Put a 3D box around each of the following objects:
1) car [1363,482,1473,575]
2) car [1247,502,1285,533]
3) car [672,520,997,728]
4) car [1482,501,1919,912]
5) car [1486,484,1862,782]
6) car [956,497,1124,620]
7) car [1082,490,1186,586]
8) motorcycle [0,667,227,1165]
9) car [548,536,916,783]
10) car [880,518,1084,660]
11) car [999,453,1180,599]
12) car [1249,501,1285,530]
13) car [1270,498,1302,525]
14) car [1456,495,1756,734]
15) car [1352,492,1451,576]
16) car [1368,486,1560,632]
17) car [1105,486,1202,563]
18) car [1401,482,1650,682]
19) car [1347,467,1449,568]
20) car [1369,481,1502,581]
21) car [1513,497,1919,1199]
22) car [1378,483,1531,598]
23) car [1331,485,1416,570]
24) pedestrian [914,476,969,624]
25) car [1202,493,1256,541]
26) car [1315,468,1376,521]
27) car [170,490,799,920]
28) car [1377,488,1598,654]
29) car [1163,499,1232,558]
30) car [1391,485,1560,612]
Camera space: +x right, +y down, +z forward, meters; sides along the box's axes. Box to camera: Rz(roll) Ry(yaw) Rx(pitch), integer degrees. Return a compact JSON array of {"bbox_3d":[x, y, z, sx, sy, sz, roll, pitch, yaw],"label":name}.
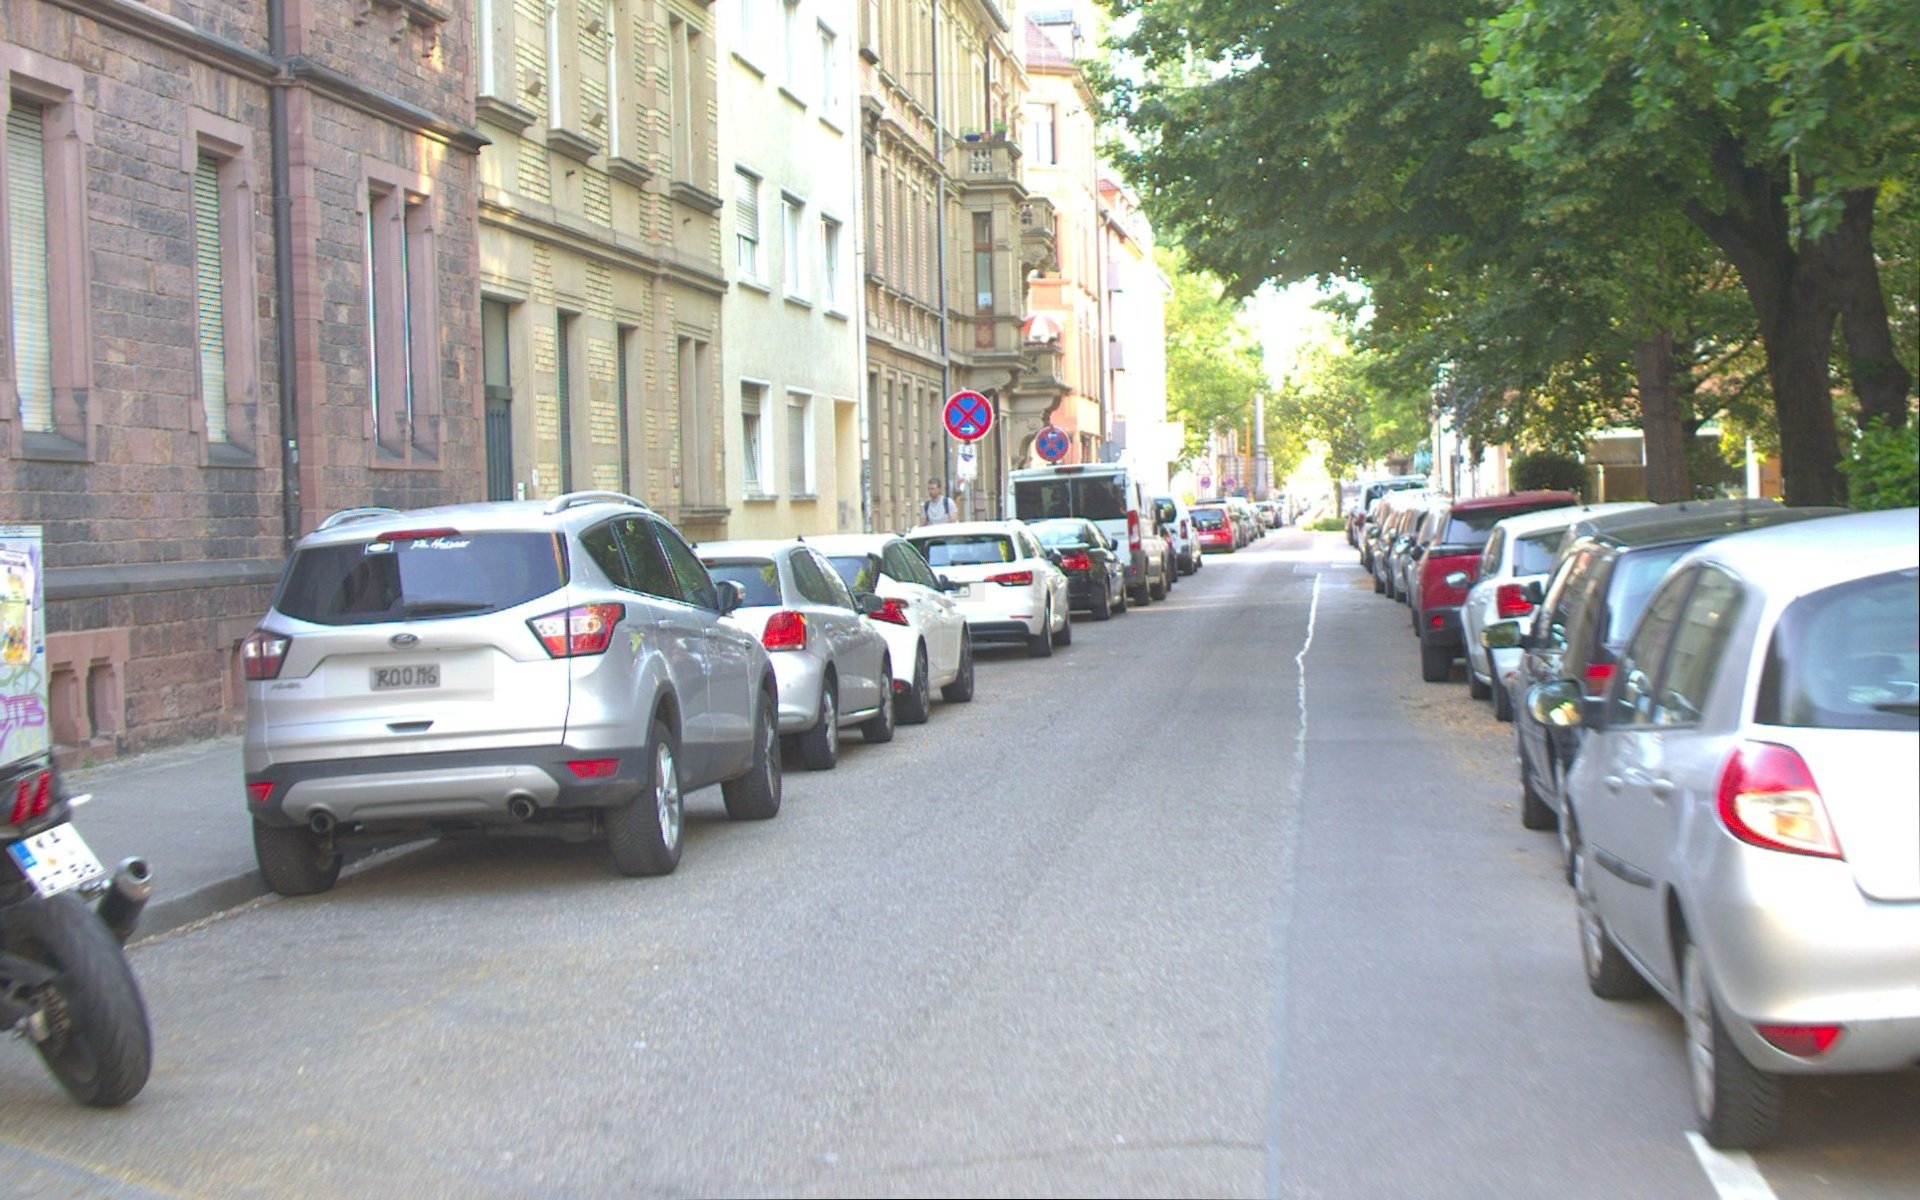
[{"bbox_3d":[8.224,-1.297,61.969,1.793,1.568,4.000,-2,1,6],"label":"car"},{"bbox_3d":[17.082,-4.608,191.800,1.994,1.641,3.999,-2,1,6],"label":"car"},{"bbox_3d":[-0.902,0.134,27.128,1.882,1.406,3.999,-3,1,7],"label":"car"},{"bbox_3d":[3.280,0.354,15.001,1.723,1.517,4.000,-2,1,6],"label":"car"},{"bbox_3d":[4.160,0.127,20.573,1.741,1.568,4.000,-2,1,6],"label":"car"},{"bbox_3d":[1.155,-0.602,47.459,1.994,1.568,4.000,-2,1,6],"label":"car"},{"bbox_3d":[3.407,-1.228,66.731,1.793,1.568,4.000,-2,5,6],"label":"car"},{"bbox_3d":[-2.893,0.818,9.825,0.664,1.203,2.311,-3,2,-35],"label":"motorcycle"},{"bbox_3d":[-1.399,0.322,22.645,1.725,1.388,3.999,-1,2,6],"label":"car"},{"bbox_3d":[0.292,-0.157,36.735,1.772,1.348,4.000,-1,2,6],"label":"car"},{"bbox_3d":[2.091,-1.175,53.930,2.310,2.107,5.168,-1,1,7],"label":"car"},{"bbox_3d":[17.896,-4.917,200.326,1.994,1.641,3.999,-2,1,6],"label":"car"},{"bbox_3d":[21.077,-5.733,222.322,1.994,1.641,3.999,-2,1,6],"label":"car"},{"bbox_3d":[4.745,0.045,25.730,1.841,1.590,4.000,-1,2,6],"label":"car"},{"bbox_3d":[8.832,-1.345,69.030,1.793,1.568,4.221,-2,1,6],"label":"car"},{"bbox_3d":[5.865,-0.514,40.395,1.994,1.568,4.000,-2,1,6],"label":"car"},{"bbox_3d":[4.217,-1.642,74.457,1.903,1.568,4.000,-2,1,6],"label":"car"},{"bbox_3d":[4.954,-0.204,30.565,1.894,1.619,3.999,-1,1,6],"label":"car"},{"bbox_3d":[10.216,-1.933,80.436,2.161,2.247,4.525,-2,1,5],"label":"car"},{"bbox_3d":[7.931,-1.170,57.620,1.994,1.568,4.000,-2,1,6],"label":"car"},{"bbox_3d":[2.615,0.506,9.511,1.724,1.517,4.000,-2,2,4],"label":"car"},{"bbox_3d":[7.231,-0.897,50.596,1.994,1.568,4.000,-2,1,6],"label":"car"},{"bbox_3d":[8.861,-1.587,73.894,1.689,1.722,4.000,1,2,5],"label":"car"},{"bbox_3d":[-0.259,-0.696,47.478,0.684,2.007,0.692,-2,1,-1],"label":"pedestrian"},{"bbox_3d":[10.549,-3.259,134.447,1.776,1.809,3.999,1,2,9],"label":"car"},{"bbox_3d":[13.188,-3.624,117.852,1.994,1.722,4.000,-2,2,6],"label":"car"},{"bbox_3d":[-2.068,0.385,16.205,1.882,1.701,3.999,-3,1,7],"label":"car"},{"bbox_3d":[5.394,-0.334,35.598,1.994,1.568,4.000,-2,1,6],"label":"car"},{"bbox_3d":[7.192,-2.176,103.863,1.950,1.703,4.000,-2,1,5],"label":"car"},{"bbox_3d":[6.859,-0.715,46.104,1.994,1.568,4.000,-2,1,6],"label":"car"}]
